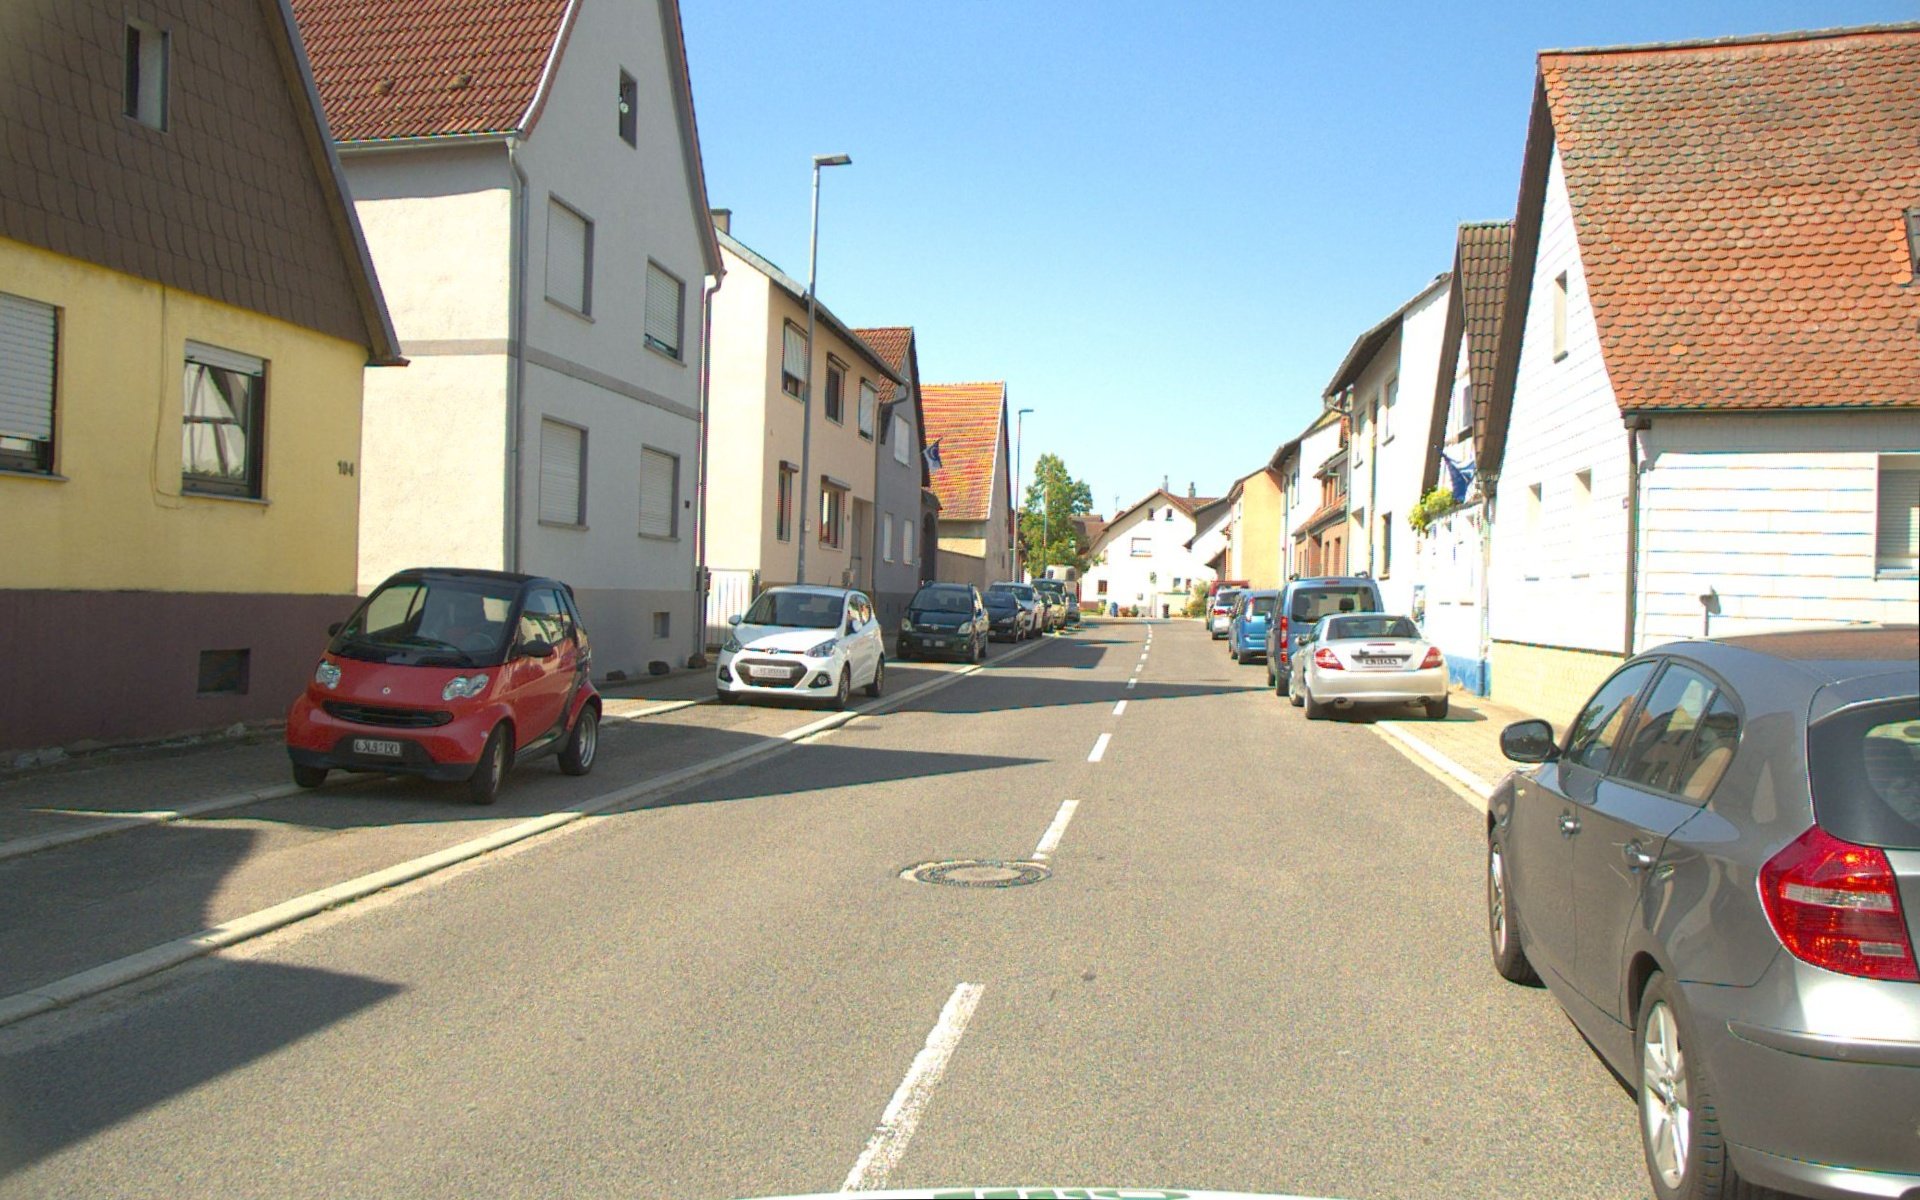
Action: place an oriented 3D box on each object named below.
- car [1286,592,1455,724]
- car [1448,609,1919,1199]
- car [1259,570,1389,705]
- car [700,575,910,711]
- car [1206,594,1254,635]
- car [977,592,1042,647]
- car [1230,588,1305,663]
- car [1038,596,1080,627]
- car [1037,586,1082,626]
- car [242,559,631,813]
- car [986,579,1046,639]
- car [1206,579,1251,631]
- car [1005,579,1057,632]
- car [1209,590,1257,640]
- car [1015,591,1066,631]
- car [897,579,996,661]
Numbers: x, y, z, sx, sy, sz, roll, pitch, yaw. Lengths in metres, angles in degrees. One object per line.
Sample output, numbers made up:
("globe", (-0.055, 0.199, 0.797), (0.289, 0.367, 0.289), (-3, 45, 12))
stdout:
("car", (5.253, 0.706, 21.528), (1.668, 1.523, 3.455), (-2, 0, 7))
("car", (2.667, 0.770, 4.955), (1.668, 1.458, 3.892), (-1, 0, 7))
("car", (5.764, 0.556, 26.528), (1.614, 1.943, 3.628), (2, 0, 7))
("car", (-1.968, 0.525, 22.368), (1.768, 1.574, 4.407), (2, 0, 8))
("car", (10.254, 0.545, 62.933), (1.729, 1.458, 3.452), (1, 0, 8))
("car", (1.447, 0.560, 47.377), (1.472, 1.478, 3.511), (1, 0, 8))
("car", (6.923, 0.554, 37.421), (1.390, 1.541, 3.306), (2, 0, 7))
("car", (4.918, 0.586, 81.874), (1.717, 1.467, 4.003), (1, 0, 8))
("car", (4.383, 0.259, 72.345), (1.717, 1.653, 4.003), (1, 0, 7))
("car", (-3.708, 0.558, 12.220), (1.519, 1.571, 2.990), (2, 0, 8))
("car", (1.778, 0.287, 51.732), (1.495, 1.743, 3.628), (2, 0, 7))
("car", (10.989, 0.218, 67.921), (1.729, 2.039, 3.452), (1, 0, 8))
("car", (2.539, 0.198, 58.712), (1.495, 1.743, 3.628), (2, 0, 7))
("car", (9.038, 0.490, 54.908), (1.390, 1.541, 3.306), (2, 0, 7))
("car", (3.177, 0.437, 64.865), (1.717, 1.467, 4.003), (1, 0, 6))
("car", (-0.239, 0.411, 35.524), (1.585, 1.605, 3.964), (2, 0, 7))
